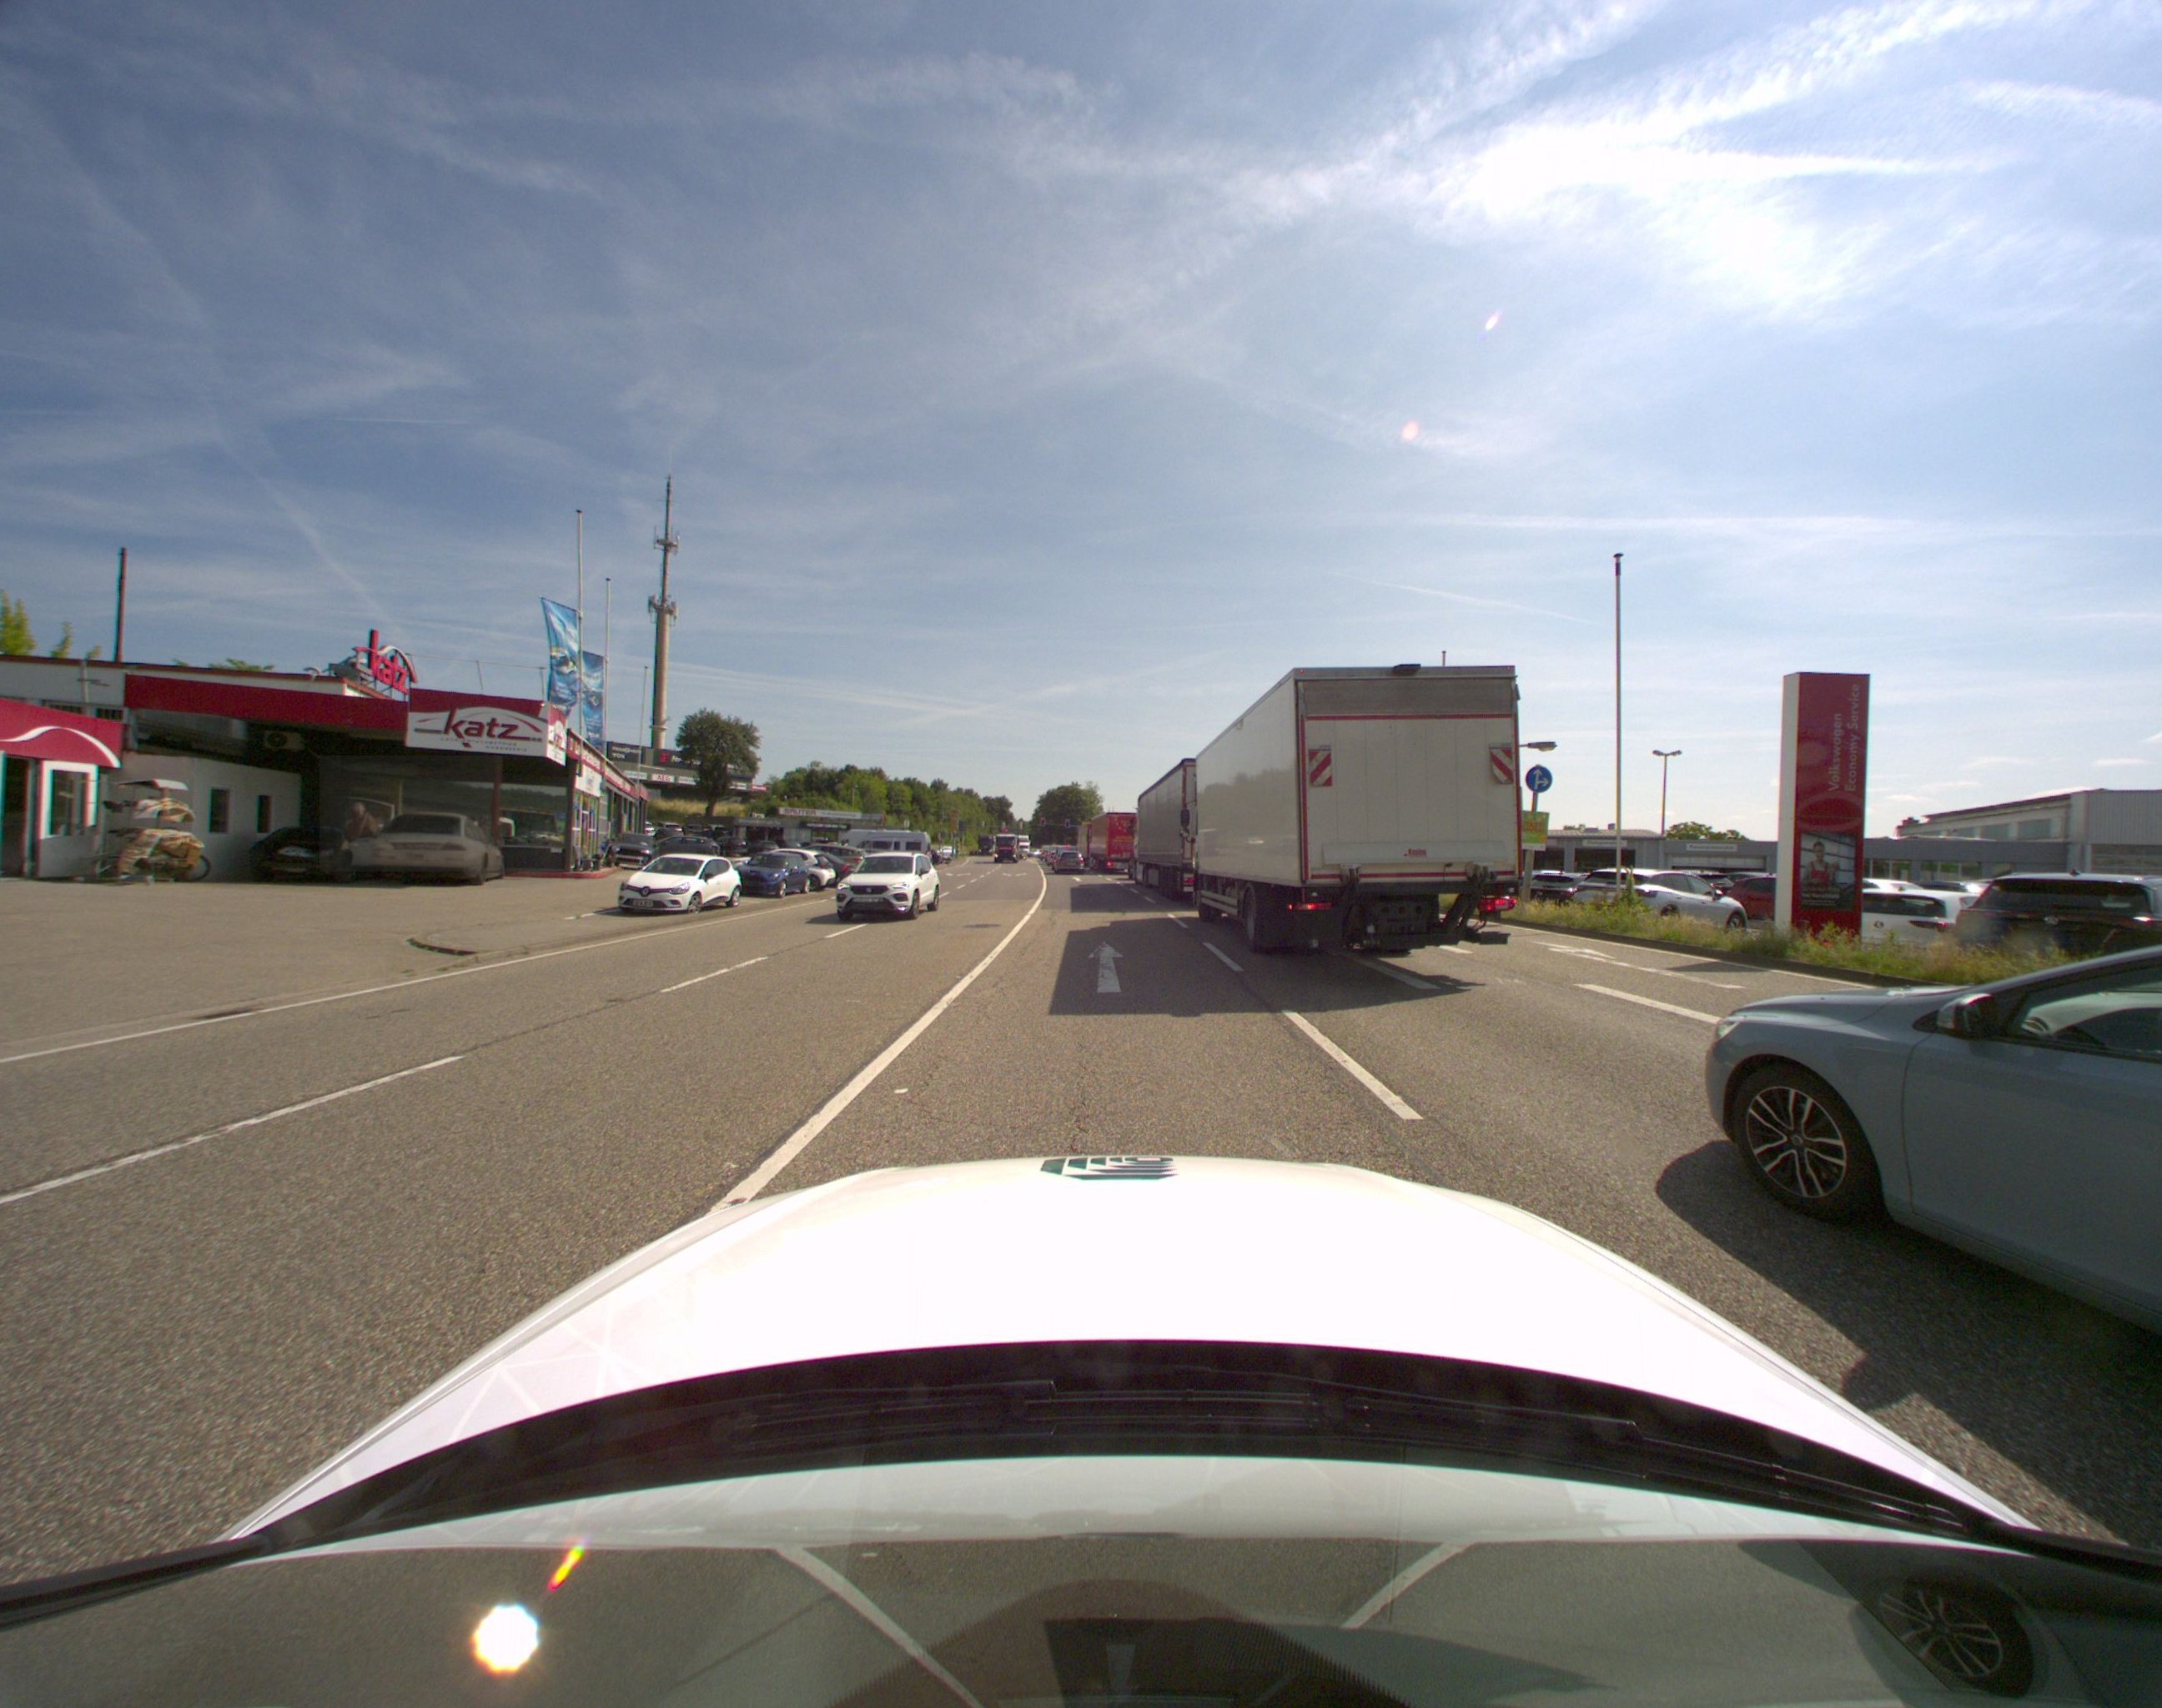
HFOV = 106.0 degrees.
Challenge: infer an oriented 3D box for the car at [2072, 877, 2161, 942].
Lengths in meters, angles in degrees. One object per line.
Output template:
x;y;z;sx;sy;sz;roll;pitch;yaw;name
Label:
25.335;1.280;18.400;1.553;1.427;3.595;-1;0;0;car

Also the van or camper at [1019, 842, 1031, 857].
-10.740;-0.853;157.658;2.219;2.840;5.703;1;-1;-3;van or camper

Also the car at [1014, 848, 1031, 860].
-7.773;-0.055;108.354;1.800;1.560;4.387;0;0;0;car

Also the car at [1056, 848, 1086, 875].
-0.601;0.432;51.555;1.784;1.638;3.503;0;0;0;car

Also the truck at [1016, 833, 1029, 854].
-12.283;-2.163;171.948;2.547;4.307;7.586;0;0;-3;truck

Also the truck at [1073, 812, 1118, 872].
1.206;-1.128;80.466;3.056;5.220;16.986;1;0;-3;truck

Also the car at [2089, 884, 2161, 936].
31.487;1.620;23.076;1.550;1.409;3.696;-1;0;7;car

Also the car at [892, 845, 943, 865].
-13.407;0.074;66.938;3.809;1.539;1.840;0;0;-5;car

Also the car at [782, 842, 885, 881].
-11.713;0.327;38.765;4.270;1.484;1.833;5;0;-5;car

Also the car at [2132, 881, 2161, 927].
34.328;1.556;24.281;1.549;1.409;3.698;-1;0;9;car

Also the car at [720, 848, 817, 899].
-10.624;0.616;27.980;1.774;1.494;3.780;5;0;-1;car

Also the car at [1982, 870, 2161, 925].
29.323;1.226;23.962;1.553;1.409;3.688;-1;0;0;car

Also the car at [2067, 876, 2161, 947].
23.493;1.229;16.967;1.553;1.427;3.595;-1;0;0;car

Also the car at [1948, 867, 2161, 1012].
12.276;0.888;9.723;3.600;1.409;1.551;-1;0;-24;car

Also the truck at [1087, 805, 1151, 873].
2.464;-0.994;59.919;2.951;4.269;16.564;1;0;-3;truck

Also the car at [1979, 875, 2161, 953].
21.604;1.190;17.095;1.553;1.409;3.595;-1;0;0;car

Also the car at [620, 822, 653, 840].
-41.227;-2.098;75.552;1.746;1.537;3.703;2;-1;-44;car

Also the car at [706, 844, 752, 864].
-29.085;-0.014;67.270;3.780;1.588;1.780;1;0;37;car

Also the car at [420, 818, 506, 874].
-21.675;-0.289;28.710;1.708;1.759;3.728;5;-1;-28;car

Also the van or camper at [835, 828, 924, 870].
-14.563;-0.381;59.154;5.879;2.873;2.287;1;1;-4;van or camper

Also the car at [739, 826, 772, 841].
-32.176;-2.022;80.415;1.746;1.450;3.703;2;-1;-44;car

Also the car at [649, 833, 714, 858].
-26.795;-0.566;54.680;3.837;1.588;1.754;0;0;-27;car

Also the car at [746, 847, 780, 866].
-26.737;0.200;68.471;1.777;1.588;3.787;0;0;-36;car

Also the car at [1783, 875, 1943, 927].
24.268;1.417;25.450;1.553;1.409;3.595;-1;0;0;car

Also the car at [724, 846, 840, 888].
-11.370;0.469;31.185;3.790;1.525;1.843;1;0;-5;car

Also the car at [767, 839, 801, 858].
-25.669;-0.464;70.239;1.777;1.588;3.787;0;0;-36;car

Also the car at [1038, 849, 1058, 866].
-3.087;0.335;75.396;1.723;1.519;3.308;1;-1;-3;car

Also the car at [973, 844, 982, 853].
-22.609;-1.162;177.589;1.992;2.014;3.989;1;-1;-8;car

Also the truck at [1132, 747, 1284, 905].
3.994;-0.781;30.595;2.881;4.266;16.703;1;0;-1;truck

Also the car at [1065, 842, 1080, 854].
-1.156;-0.745;104.805;1.723;1.519;3.307;2;-1;-4;car

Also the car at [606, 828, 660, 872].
-19.906;-0.166;36.272;1.831;1.675;4.090;7;-4;-28;car

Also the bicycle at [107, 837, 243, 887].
-20.674;0.189;18.628;2.001;0.971;0.412;6;-3;-24;bicycle

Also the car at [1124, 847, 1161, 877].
3.503;0.438;47.034;1.814;1.685;3.998;0;0;-1;car

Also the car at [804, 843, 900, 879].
-11.597;0.357;41.469;4.291;1.484;1.795;5;0;-5;car

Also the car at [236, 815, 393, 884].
-20.283;-0.171;21.773;1.863;1.504;3.967;5;1;-26;car

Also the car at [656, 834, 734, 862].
-22.221;-0.325;46.960;3.958;1.532;1.754;0;0;-27;car

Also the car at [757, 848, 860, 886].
-11.218;0.511;33.713;3.702;1.525;1.789;0;0;-5;car

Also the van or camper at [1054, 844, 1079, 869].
-1.202;0.209;65.847;1.849;1.905;3.779;1;0;-4;van or camper

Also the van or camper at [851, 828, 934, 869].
-13.100;-0.391;56.813;5.232;2.731;2.209;1;0;-3;van or camper

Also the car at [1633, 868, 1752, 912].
21.760;1.228;29.145;1.553;1.409;3.595;-1;0;0;car

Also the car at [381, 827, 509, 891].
-18.046;0.071;23.336;1.862;1.504;4.361;4;1;-25;car

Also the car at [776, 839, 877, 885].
-11.234;0.350;36.174;3.880;1.716;1.803;5;0;-5;car

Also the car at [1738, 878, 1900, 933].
21.725;1.461;24.164;1.553;1.409;3.595;-1;0;0;car

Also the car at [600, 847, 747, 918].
-10.298;0.663;20.936;1.774;1.618;3.998;1;0;-1;car

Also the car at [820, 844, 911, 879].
-11.676;0.399;44.344;4.452;1.484;1.769;5;0;-5;car

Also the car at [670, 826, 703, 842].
-37.922;-1.884;78.316;1.746;1.450;3.703;2;-1;-44;car

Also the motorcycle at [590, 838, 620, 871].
-18.743;0.013;32.122;0.773;1.261;2.039;0;0;-23;motorcycle

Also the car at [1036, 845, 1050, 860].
-4.961;-0.220;106.500;1.721;1.909;3.311;1;-1;0;car

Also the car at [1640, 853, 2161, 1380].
3.814;0.732;2.207;1.729;1.428;4.225;1;0;0;car

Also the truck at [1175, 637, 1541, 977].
3.776;-0.545;14.770;2.870;3.811;11.141;1;0;0;truck

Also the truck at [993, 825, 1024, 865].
-8.155;-1.013;92.832;2.948;4.209;10.639;-1;0;-2;truck

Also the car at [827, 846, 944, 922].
-4.721;0.675;20.290;1.929;1.674;3.999;-1;0;0;car

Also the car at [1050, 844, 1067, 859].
-2.315;-0.234;84.143;1.722;1.519;3.310;1;-1;-2;car

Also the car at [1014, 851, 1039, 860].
-8.876;0.184;132.305;1.695;1.448;4.107;1;0;37;car

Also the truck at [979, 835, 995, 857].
-17.165;-1.427;148.182;2.810;3.786;6.972;-1;0;-7;truck
